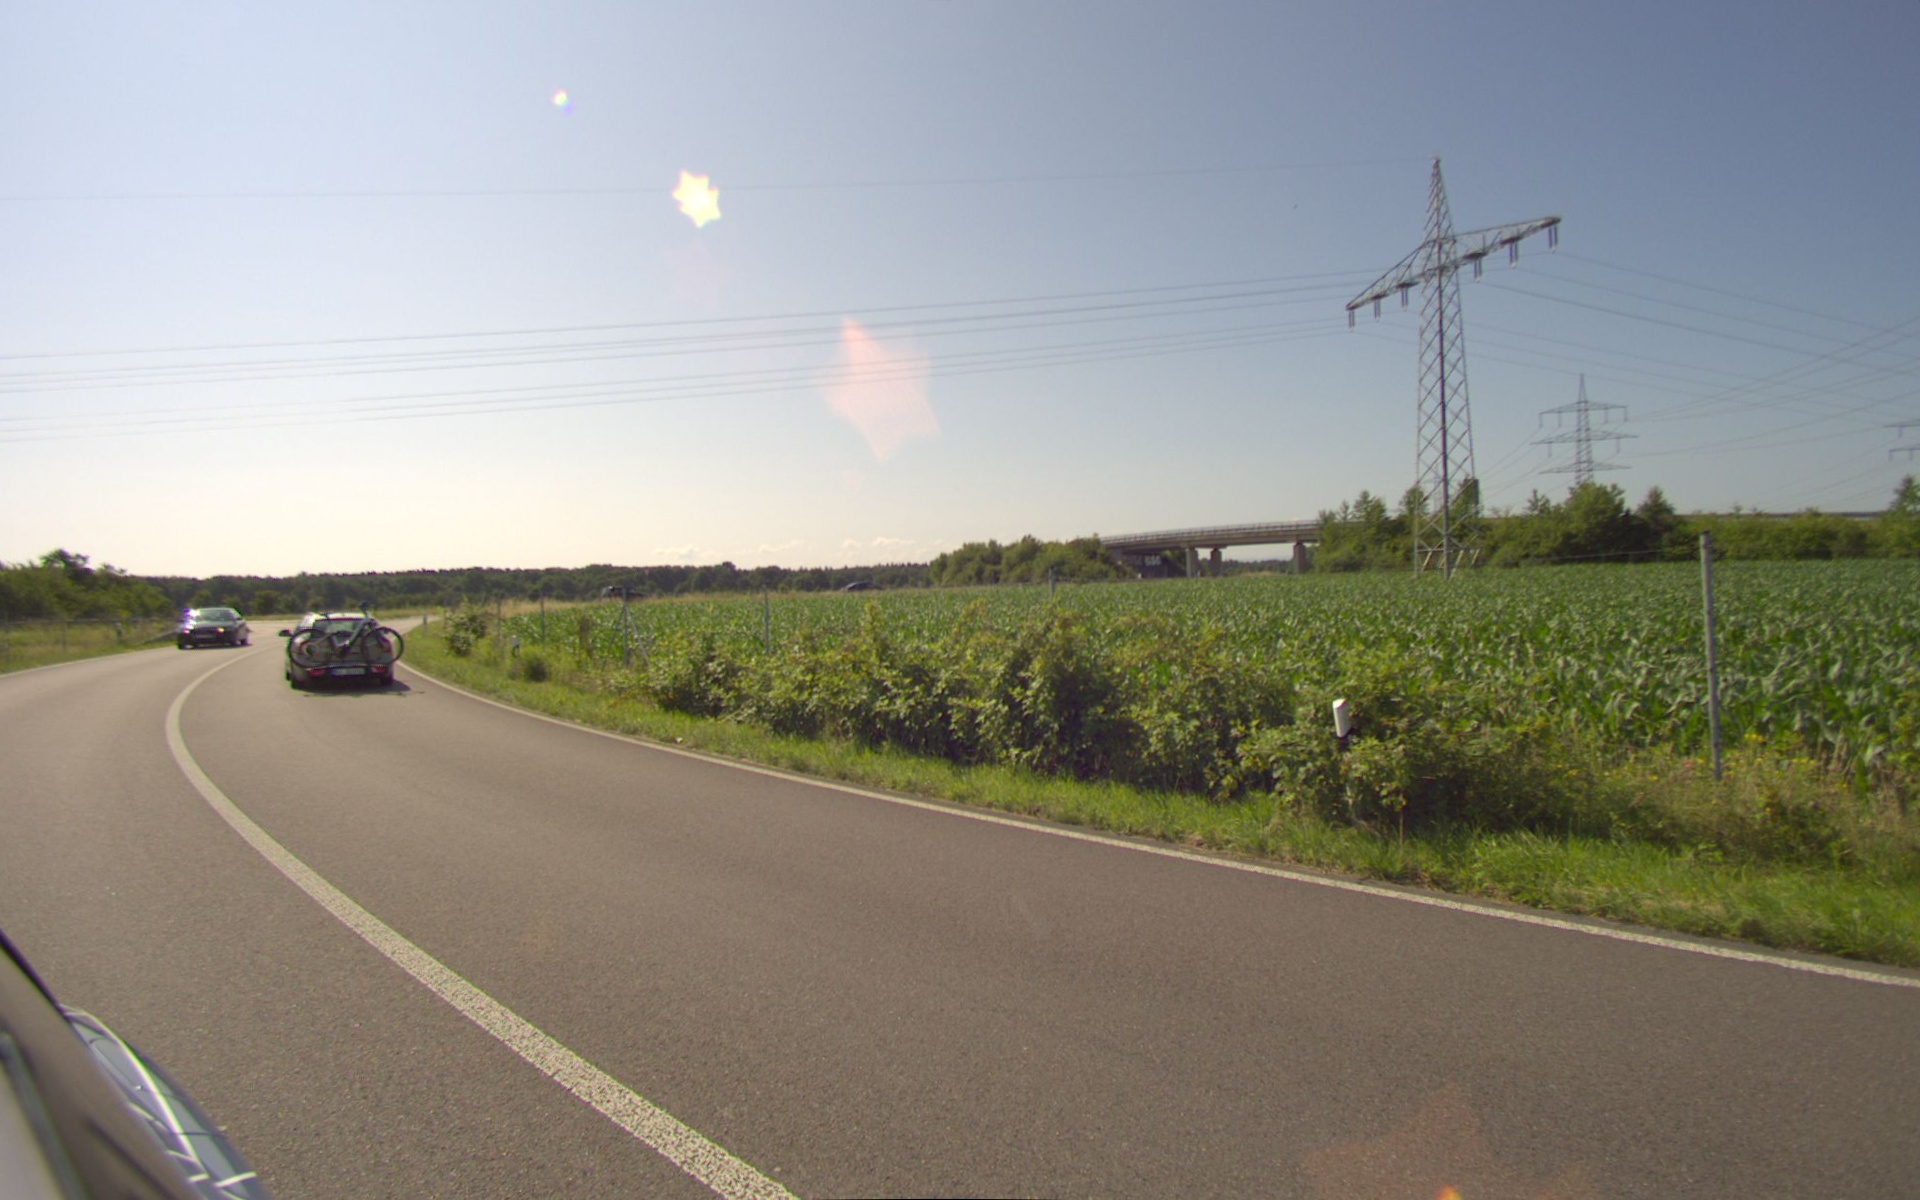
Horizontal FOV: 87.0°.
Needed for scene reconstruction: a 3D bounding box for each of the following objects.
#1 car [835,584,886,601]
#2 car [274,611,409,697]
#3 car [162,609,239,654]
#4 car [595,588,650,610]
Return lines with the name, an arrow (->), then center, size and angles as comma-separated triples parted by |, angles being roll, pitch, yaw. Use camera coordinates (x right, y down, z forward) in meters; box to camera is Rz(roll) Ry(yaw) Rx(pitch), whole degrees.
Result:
car -> -9.588, -0.726, 97.295 | 4.514, 1.467, 1.786 | -3, 1, -29
car -> -12.606, 0.992, 20.462 | 1.841, 1.492, 5.147 | 2, -1, -37
car -> -27.651, 1.116, 36.960 | 1.856, 1.467, 4.087 | -1, 0, -32
car -> -27.783, -0.089, 83.538 | 1.978, 1.719, 4.227 | 0, 2, 24
